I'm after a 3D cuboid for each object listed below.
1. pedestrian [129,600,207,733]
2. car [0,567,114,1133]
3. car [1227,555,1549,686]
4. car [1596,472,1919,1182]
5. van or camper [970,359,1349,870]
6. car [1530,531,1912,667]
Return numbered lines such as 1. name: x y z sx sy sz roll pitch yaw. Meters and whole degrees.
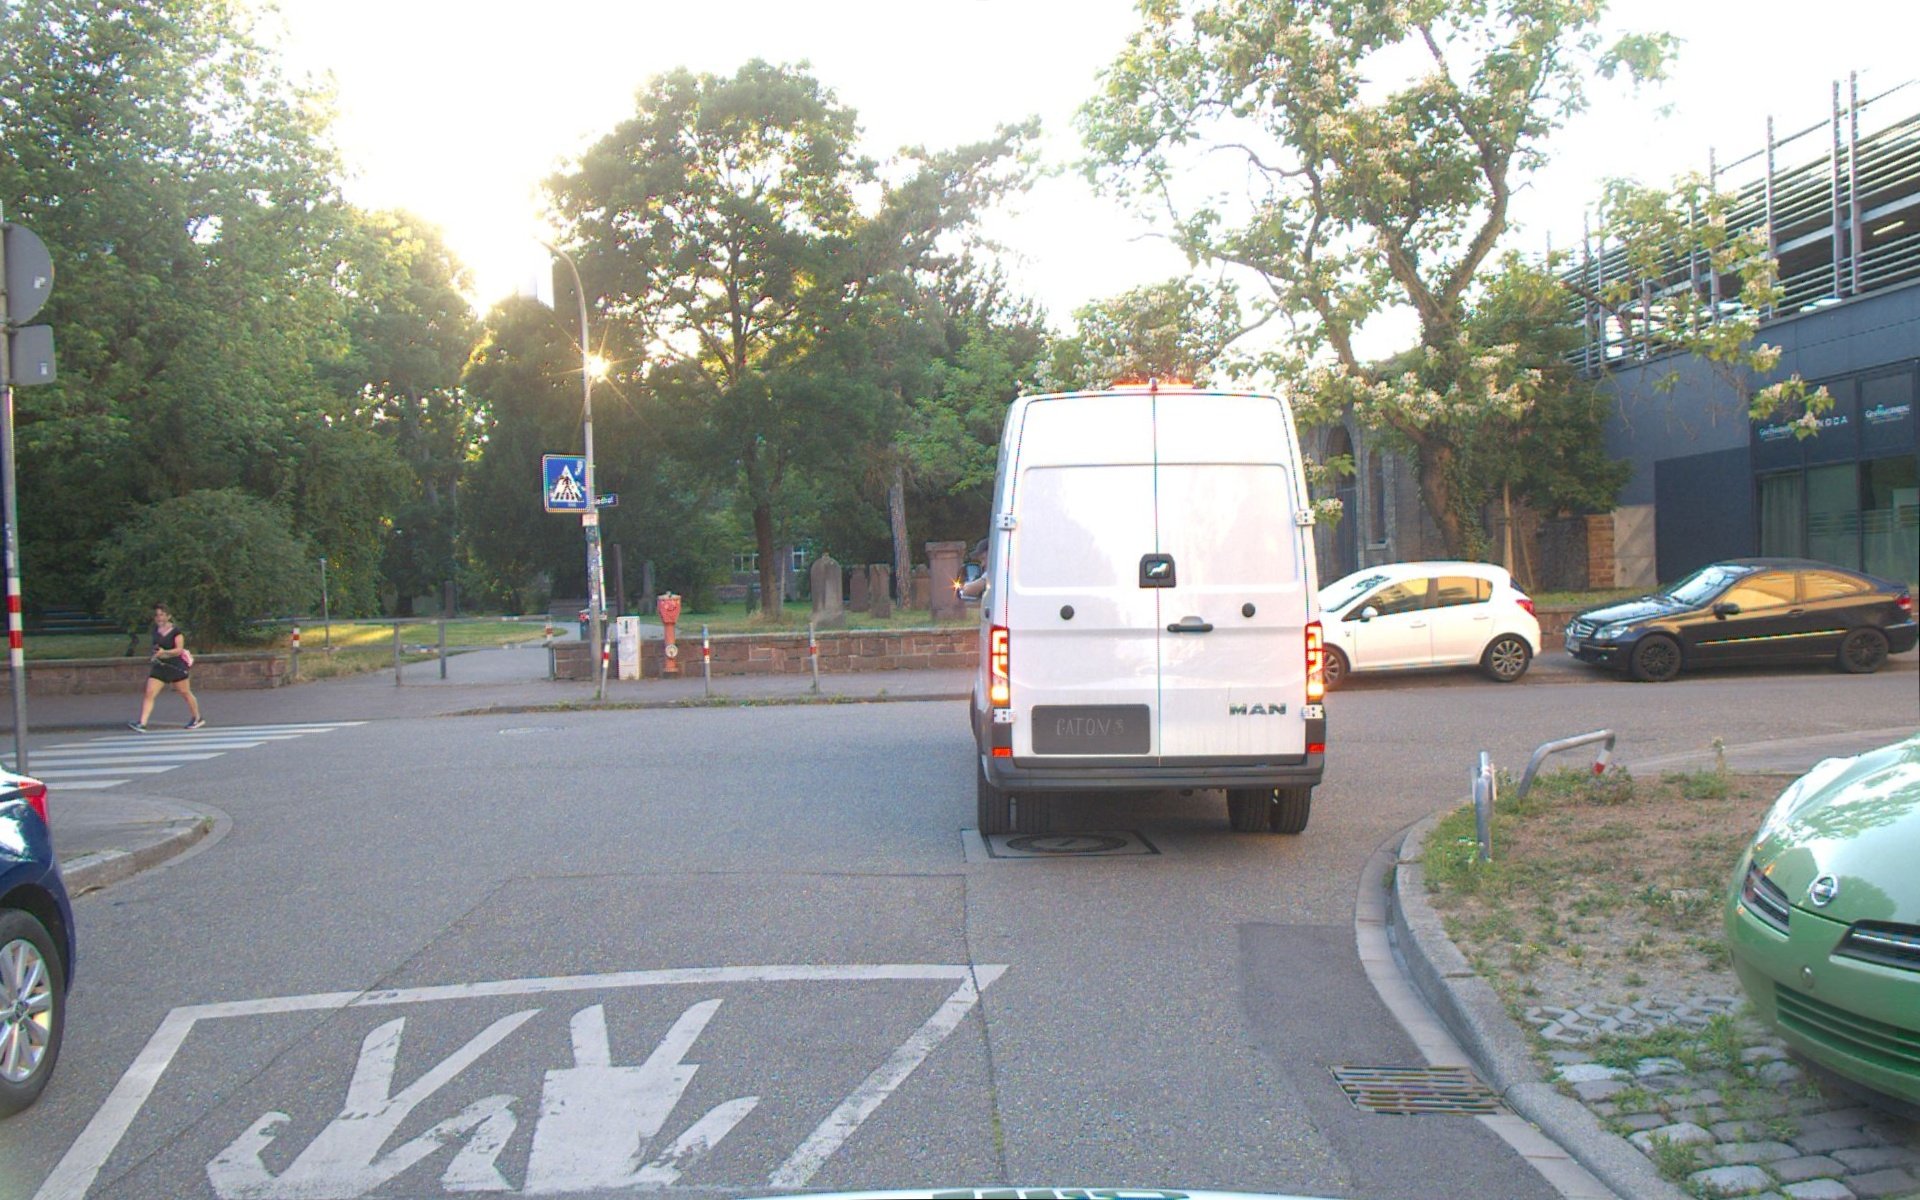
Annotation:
1. pedestrian: -10.267 0.843 21.444 0.634 1.677 0.672 0 1 30
2. car: -3.484 0.761 3.426 1.700 1.594 3.787 -3 1 -5
3. car: 5.692 0.246 22.325 3.779 1.601 1.956 -1 1 -4
4. car: 4.329 0.435 4.628 4.318 1.660 1.844 -3 -1 -5
5. van or camper: 1.127 0.047 11.929 1.952 2.664 6.404 -1 1 1
6. car: 10.056 -0.020 22.099 4.204 1.529 1.824 -3 0 2
